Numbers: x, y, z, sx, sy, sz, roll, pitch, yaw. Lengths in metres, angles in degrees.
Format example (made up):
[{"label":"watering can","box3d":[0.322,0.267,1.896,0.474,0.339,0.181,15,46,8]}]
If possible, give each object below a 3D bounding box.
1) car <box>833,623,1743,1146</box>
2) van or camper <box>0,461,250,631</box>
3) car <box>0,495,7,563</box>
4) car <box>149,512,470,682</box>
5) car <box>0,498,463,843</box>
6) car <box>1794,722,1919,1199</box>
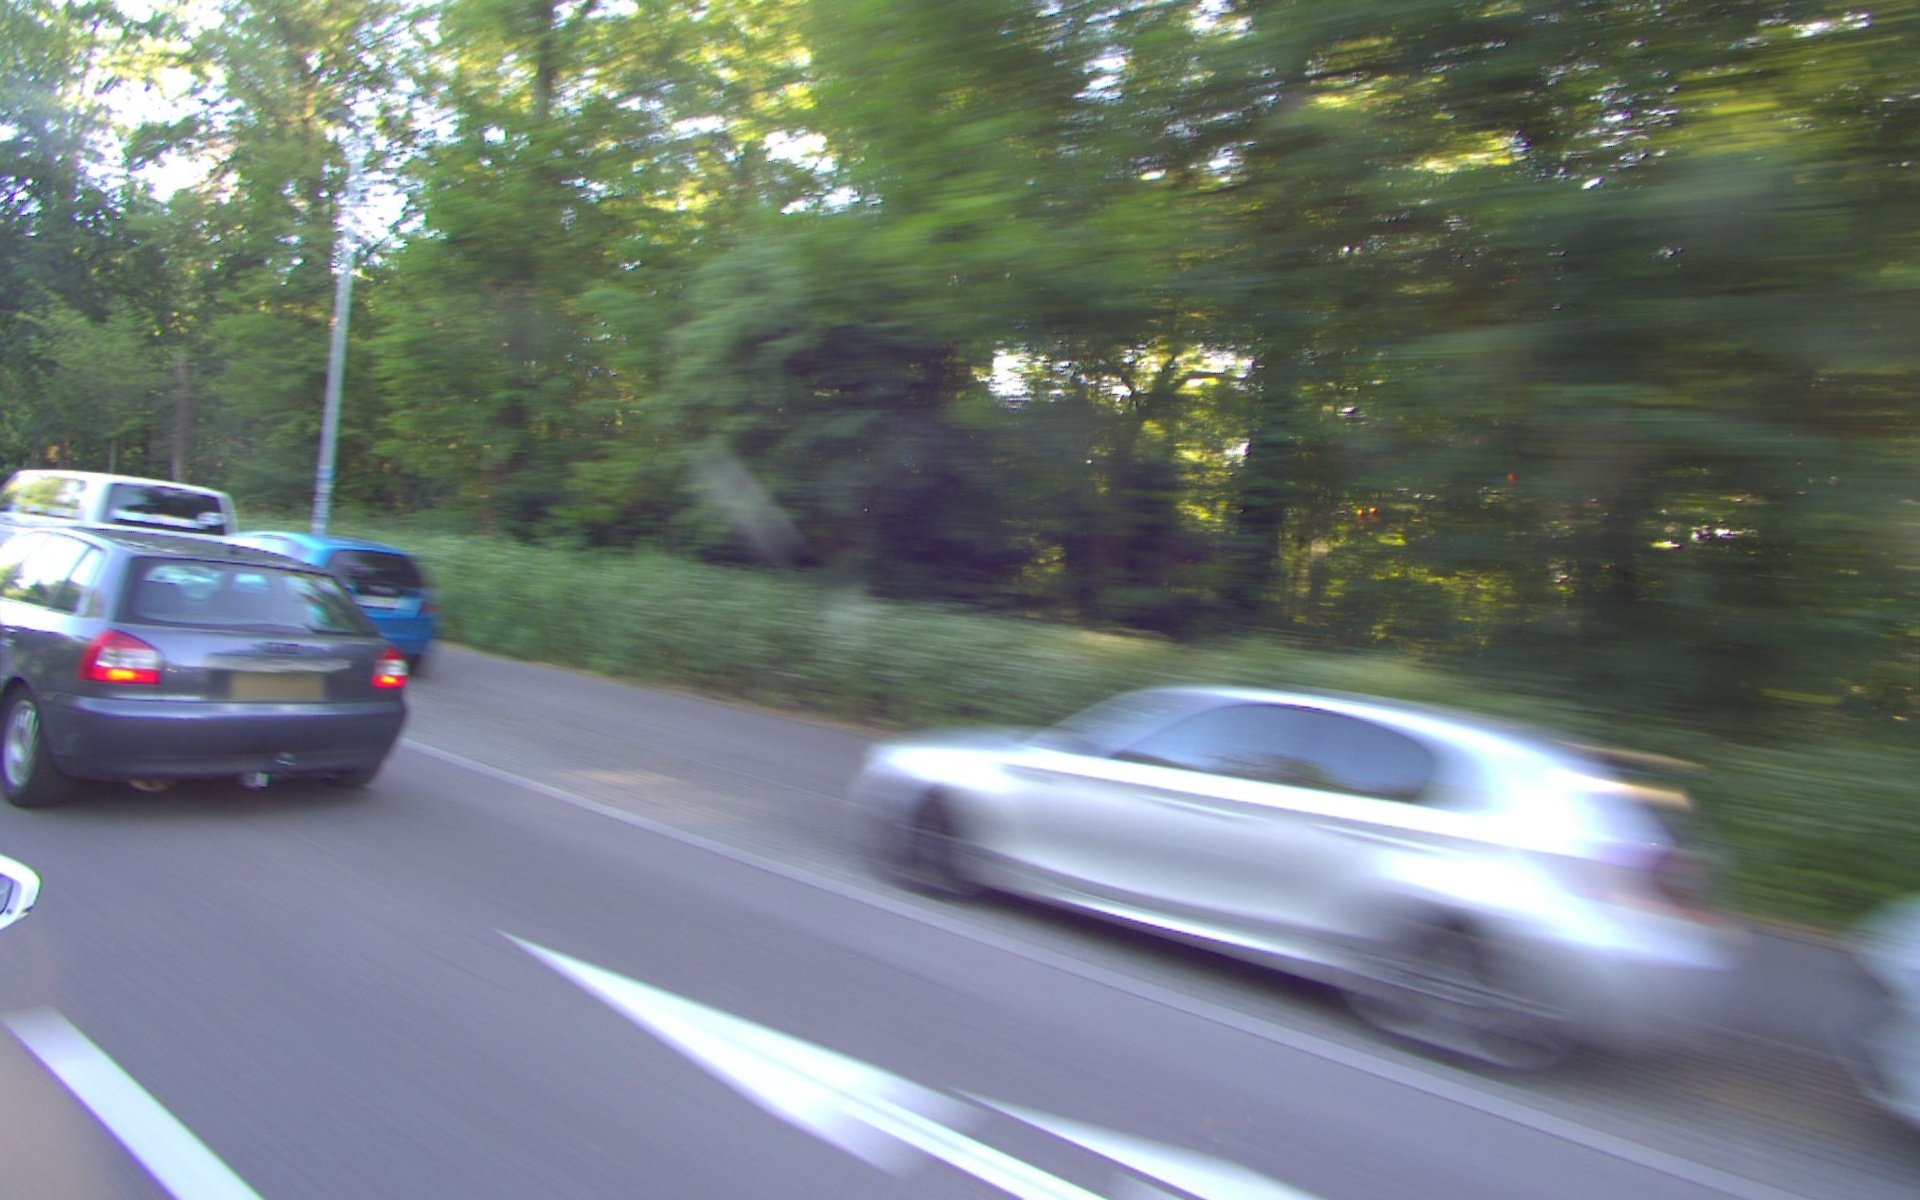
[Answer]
[{"label":"car","box3d":[1.481,1.099,5.410,4.023,1.427,1.729,7,1,33]},{"label":"van or camper","box3d":[-13.042,-0.893,15.142,5.254,1.994,1.835,7,-1,32]},{"label":"car","box3d":[-20.942,-1.588,20.240,4.047,1.459,1.651,7,0,34]},{"label":"car","box3d":[-7.834,-0.058,12.046,3.802,1.541,1.650,7,0,32]},{"label":"car","box3d":[-5.147,0.216,6.242,4.022,1.459,1.730,7,-1,32]},{"label":"car","box3d":[5.299,1.476,2.977,4.023,1.541,1.729,7,0,33]}]
